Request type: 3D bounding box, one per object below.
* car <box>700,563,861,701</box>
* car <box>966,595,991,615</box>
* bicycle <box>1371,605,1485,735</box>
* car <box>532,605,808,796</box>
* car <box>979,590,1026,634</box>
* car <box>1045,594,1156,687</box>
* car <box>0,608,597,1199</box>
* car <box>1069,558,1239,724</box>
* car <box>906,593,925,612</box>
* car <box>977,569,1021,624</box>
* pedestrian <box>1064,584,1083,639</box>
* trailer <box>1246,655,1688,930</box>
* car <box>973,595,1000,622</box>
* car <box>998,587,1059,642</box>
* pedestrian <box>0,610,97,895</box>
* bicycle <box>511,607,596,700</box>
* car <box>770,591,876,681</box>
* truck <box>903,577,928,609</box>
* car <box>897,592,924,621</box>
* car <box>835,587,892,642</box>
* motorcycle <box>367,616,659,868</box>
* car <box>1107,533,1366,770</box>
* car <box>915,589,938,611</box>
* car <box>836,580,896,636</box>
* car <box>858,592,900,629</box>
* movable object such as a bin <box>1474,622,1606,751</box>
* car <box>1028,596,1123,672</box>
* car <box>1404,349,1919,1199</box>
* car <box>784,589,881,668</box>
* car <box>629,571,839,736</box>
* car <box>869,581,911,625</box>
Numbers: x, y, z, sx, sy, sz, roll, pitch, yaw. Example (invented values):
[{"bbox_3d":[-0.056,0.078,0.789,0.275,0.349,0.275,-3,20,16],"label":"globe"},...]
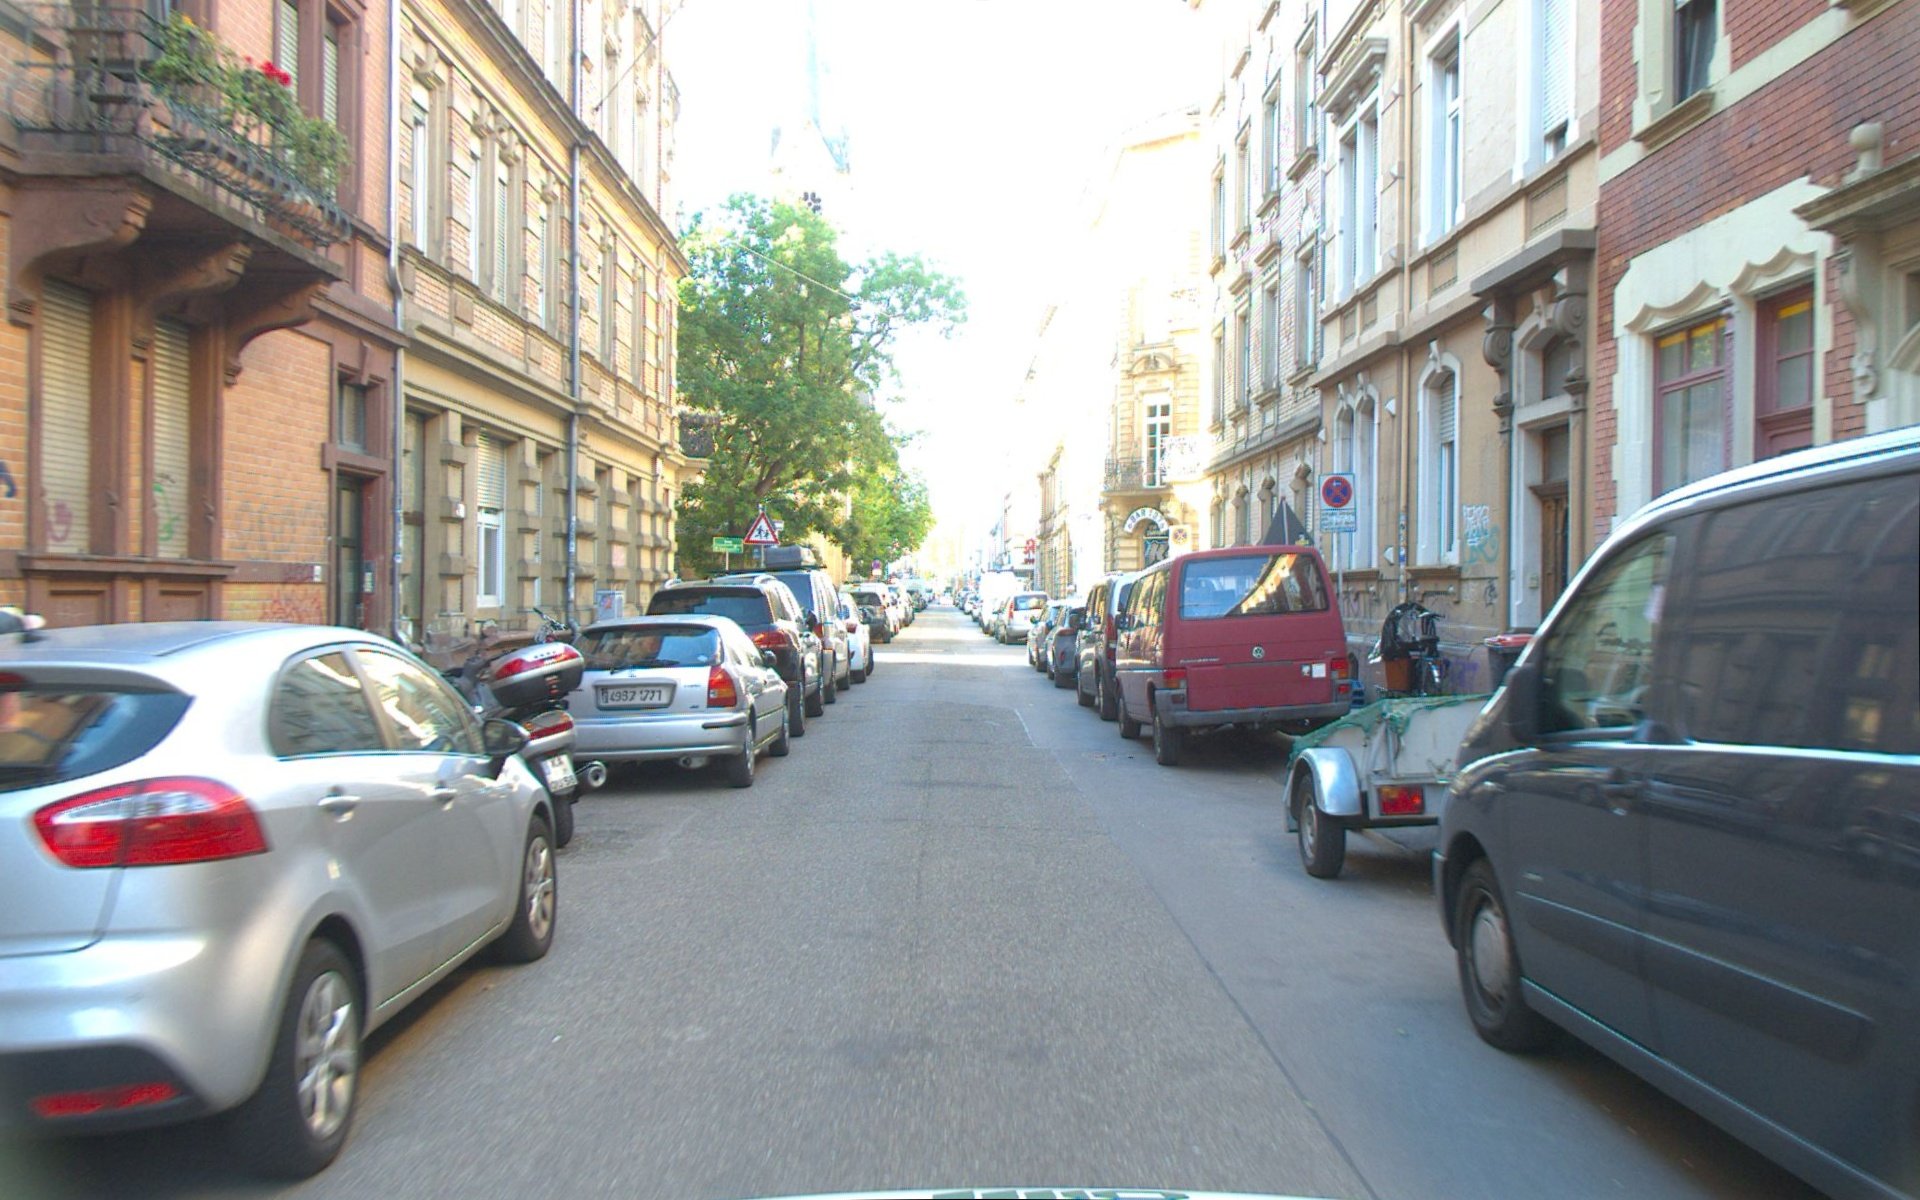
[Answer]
[{"bbox_3d":[-2.574,0.434,24.779,1.854,1.816,4.607,2,0,0],"label":"car"},{"bbox_3d":[1.432,0.342,128.082,1.859,1.514,3.869,0,0,0],"label":"car"},{"bbox_3d":[5.147,0.743,18.285,0.712,1.326,1.692,-3,0,0],"label":"bicycle"},{"bbox_3d":[-2.377,0.765,14.501,1.664,1.337,3.999,4,0,0],"label":"car"},{"bbox_3d":[1.742,0.485,68.916,1.771,1.719,4.214,2,0,0],"label":"car"},{"bbox_3d":[2.454,0.668,29.635,1.632,1.505,3.887,0,1,0],"label":"car"},{"bbox_3d":[-2.471,0.787,5.650,1.640,1.443,3.999,-1,0,-1],"label":"car"},{"bbox_3d":[2.529,0.496,22.475,1.733,1.995,4.263,2,0,0],"label":"car"},{"bbox_3d":[-4.392,0.238,161.962,1.838,1.828,3.998,0,0,-2],"label":"car"},{"bbox_3d":[1.944,-0.207,83.763,2.026,2.656,5.887,1,0,0],"label":"car"},{"bbox_3d":[3.684,0.366,53.711,0.562,1.763,0.664,-1,1,5],"label":"pedestrian"},{"bbox_3d":[2.731,0.990,9.561,1.475,1.132,3.038,4,0,-2],"label":"trailer"},{"bbox_3d":[1.570,0.476,99.694,1.571,1.531,4.000,1,0,1],"label":"car"},{"bbox_3d":[2.204,0.447,54.248,1.669,1.744,3.936,-1,0,-2],"label":"car"},{"bbox_3d":[-4.585,0.707,7.992,0.440,1.306,0.647,2,0,0],"label":"pedestrian"},{"bbox_3d":[-5.409,0.689,22.106,0.653,1.145,1.785,3,1,0],"label":"bicycle"},{"bbox_3d":[-2.374,0.590,29.440,1.640,1.445,3.873,2,0,-2],"label":"car"},{"bbox_3d":[-4.743,-0.732,178.348,2.480,3.339,6.994,0,0,0],"label":"truck"},{"bbox_3d":[-3.003,0.373,100.605,1.567,1.642,3.807,-2,0,-1],"label":"car"},{"bbox_3d":[-3.036,0.433,52.429,1.706,1.675,4.287,0,0,-3],"label":"car"},{"bbox_3d":[-2.857,0.829,10.408,0.837,1.384,2.162,-2,0,-43],"label":"motorcycle"},{"bbox_3d":[2.666,0.446,17.035,1.794,2.049,4.741,2,0,0],"label":"car"},{"bbox_3d":[-2.828,-0.048,139.846,1.837,1.828,4.000,0,0,0],"label":"car"},{"bbox_3d":[-3.257,0.239,57.977,1.807,1.895,4.465,0,1,0],"label":"car"},{"bbox_3d":[-3.634,0.448,74.311,1.707,1.614,3.868,1,0,0],"label":"car"},{"bbox_3d":[5.212,0.765,14.898,0.877,1.080,0.722,-3,0,-3],"label":"movable object such as a bin"},{"bbox_3d":[2.407,0.680,35.426,1.671,1.484,4.511,2,0,0],"label":"car"},{"bbox_3d":[2.727,0.551,4.262,1.807,2.018,4.575,2,0,-1],"label":"car"},{"bbox_3d":[-2.591,0.555,34.512,1.687,1.507,4.089,2,0,0],"label":"car"},{"bbox_3d":[-2.507,0.551,19.415,1.751,1.652,4.608,2,0,0],"label":"car"},{"bbox_3d":[-3.340,0.135,79.672,1.826,1.991,4.609,-1,0,-1],"label":"car"}]
